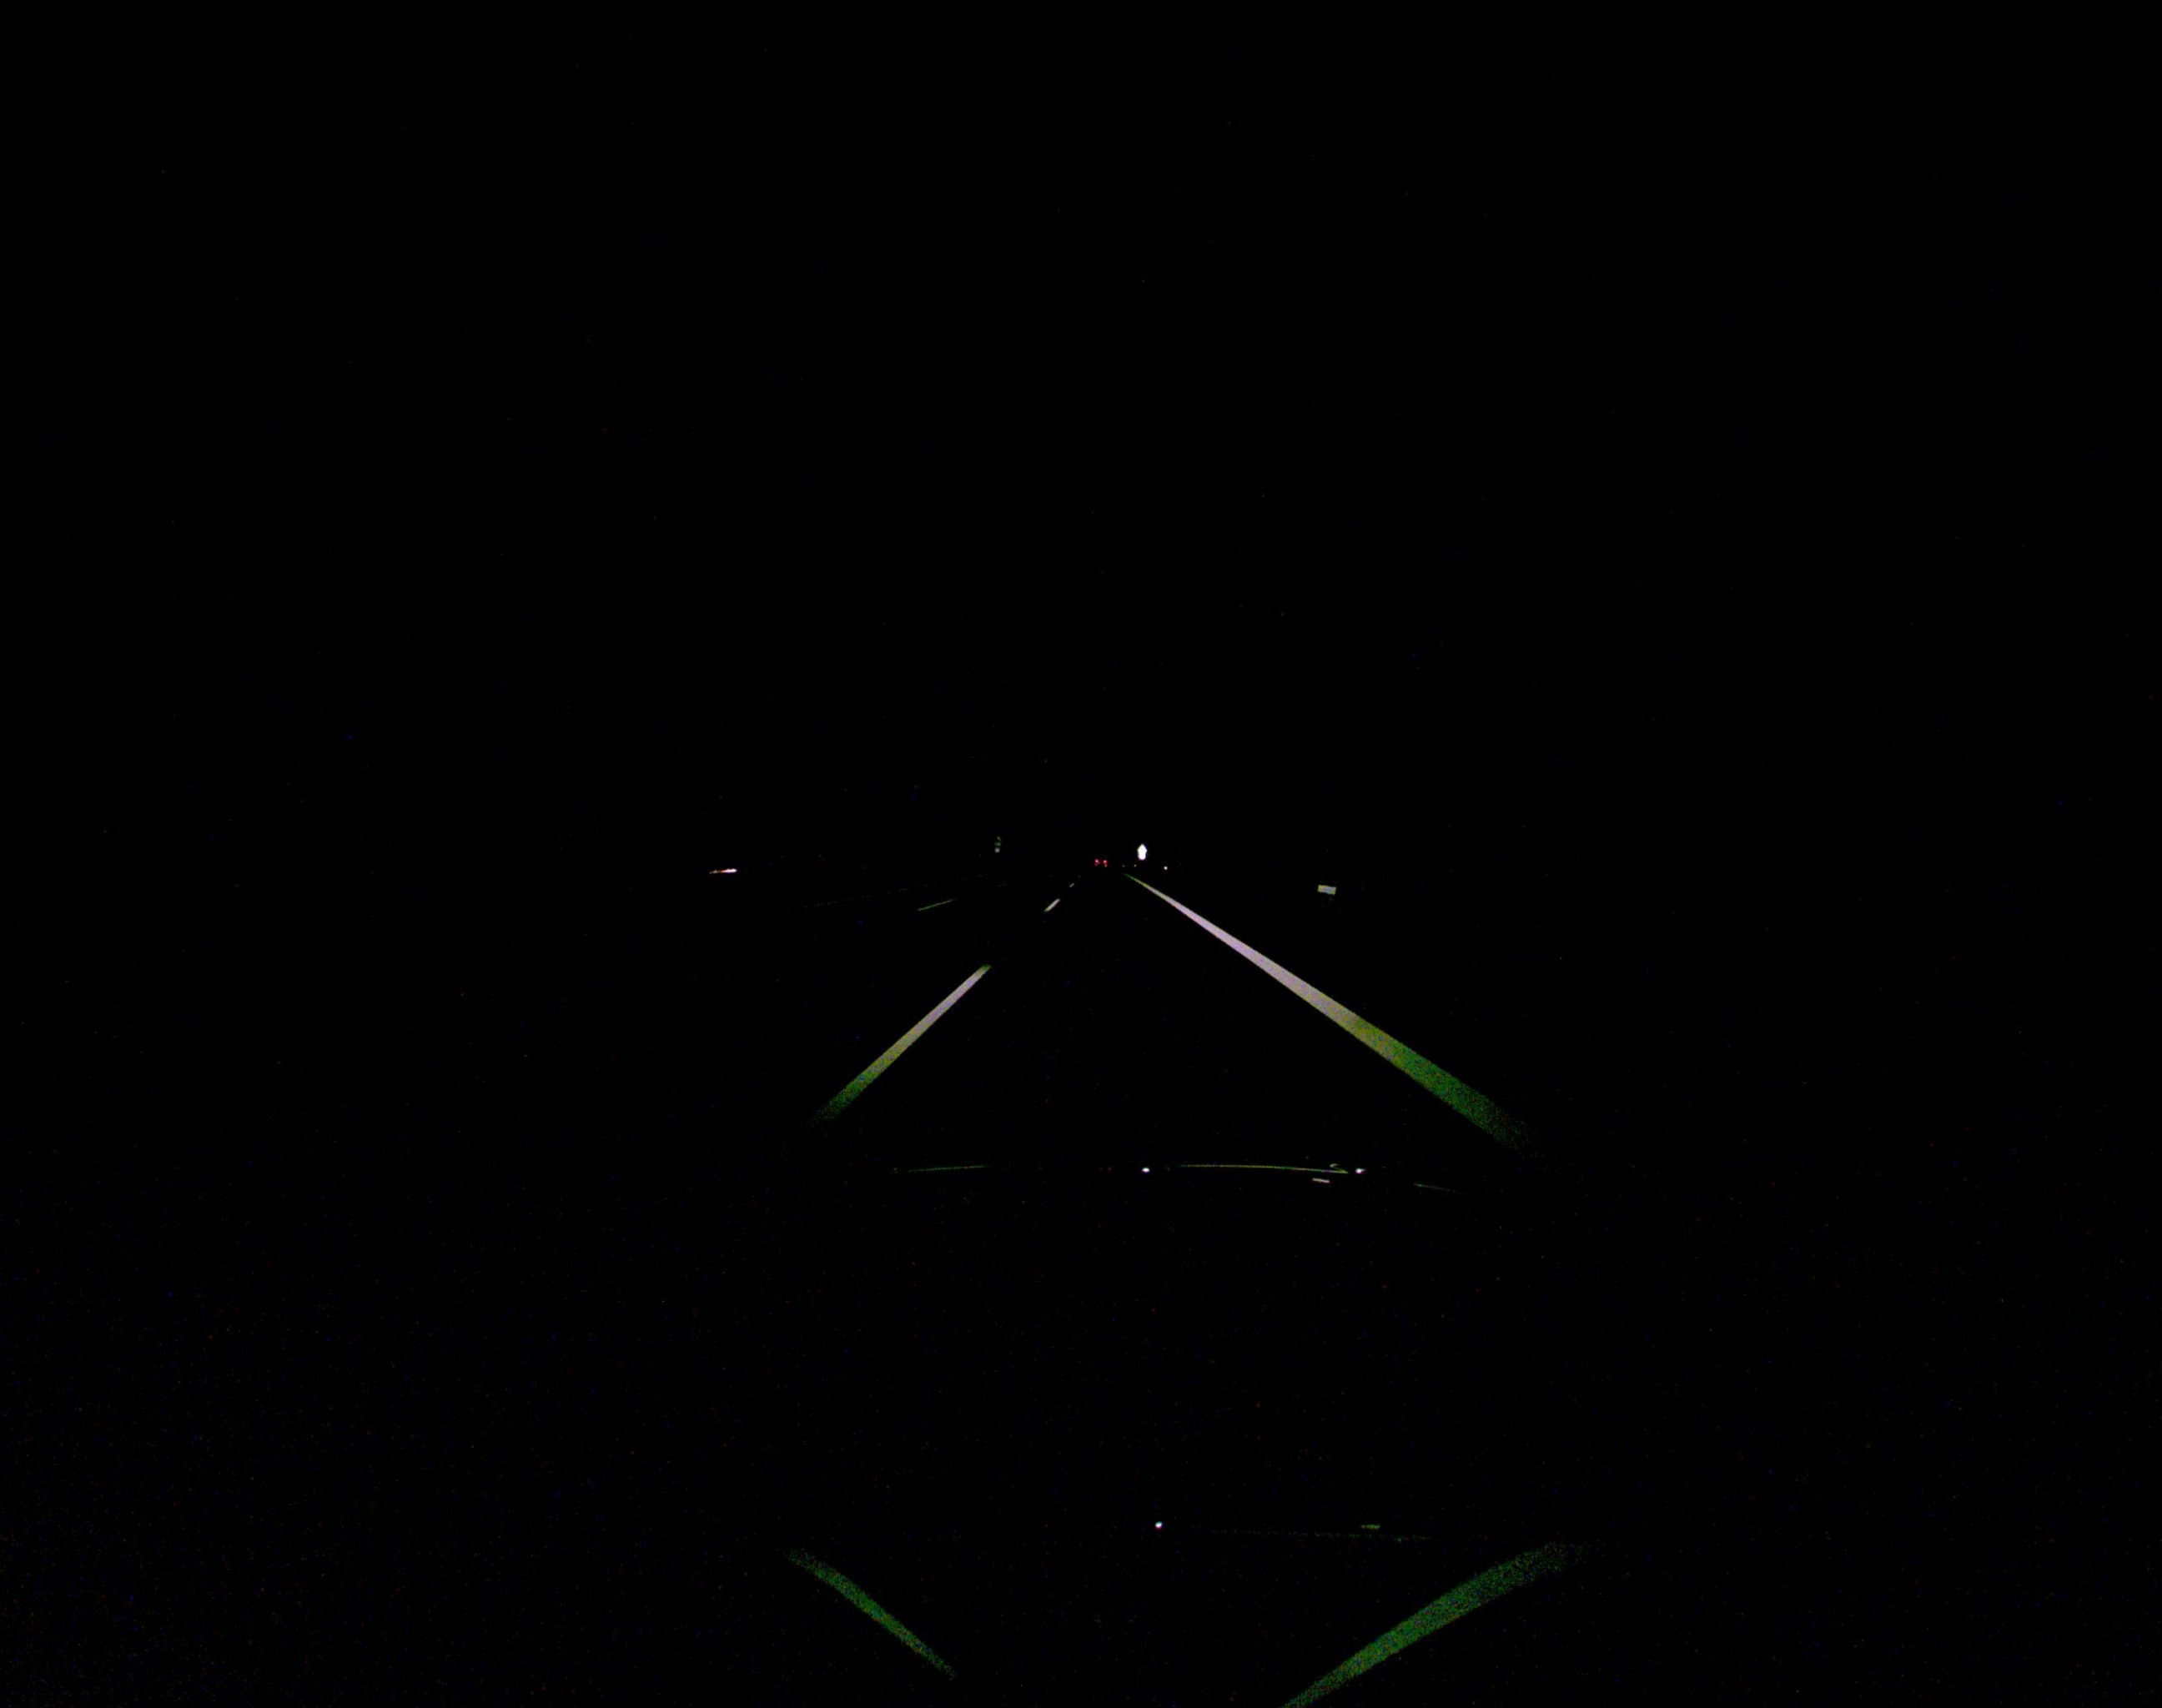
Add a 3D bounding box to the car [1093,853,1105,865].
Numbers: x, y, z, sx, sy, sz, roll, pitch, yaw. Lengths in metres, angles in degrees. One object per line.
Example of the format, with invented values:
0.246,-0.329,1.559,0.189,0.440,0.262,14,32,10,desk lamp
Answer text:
3.971,1.144,180.593,2.517,2.553,6.055,1,0,3,car
